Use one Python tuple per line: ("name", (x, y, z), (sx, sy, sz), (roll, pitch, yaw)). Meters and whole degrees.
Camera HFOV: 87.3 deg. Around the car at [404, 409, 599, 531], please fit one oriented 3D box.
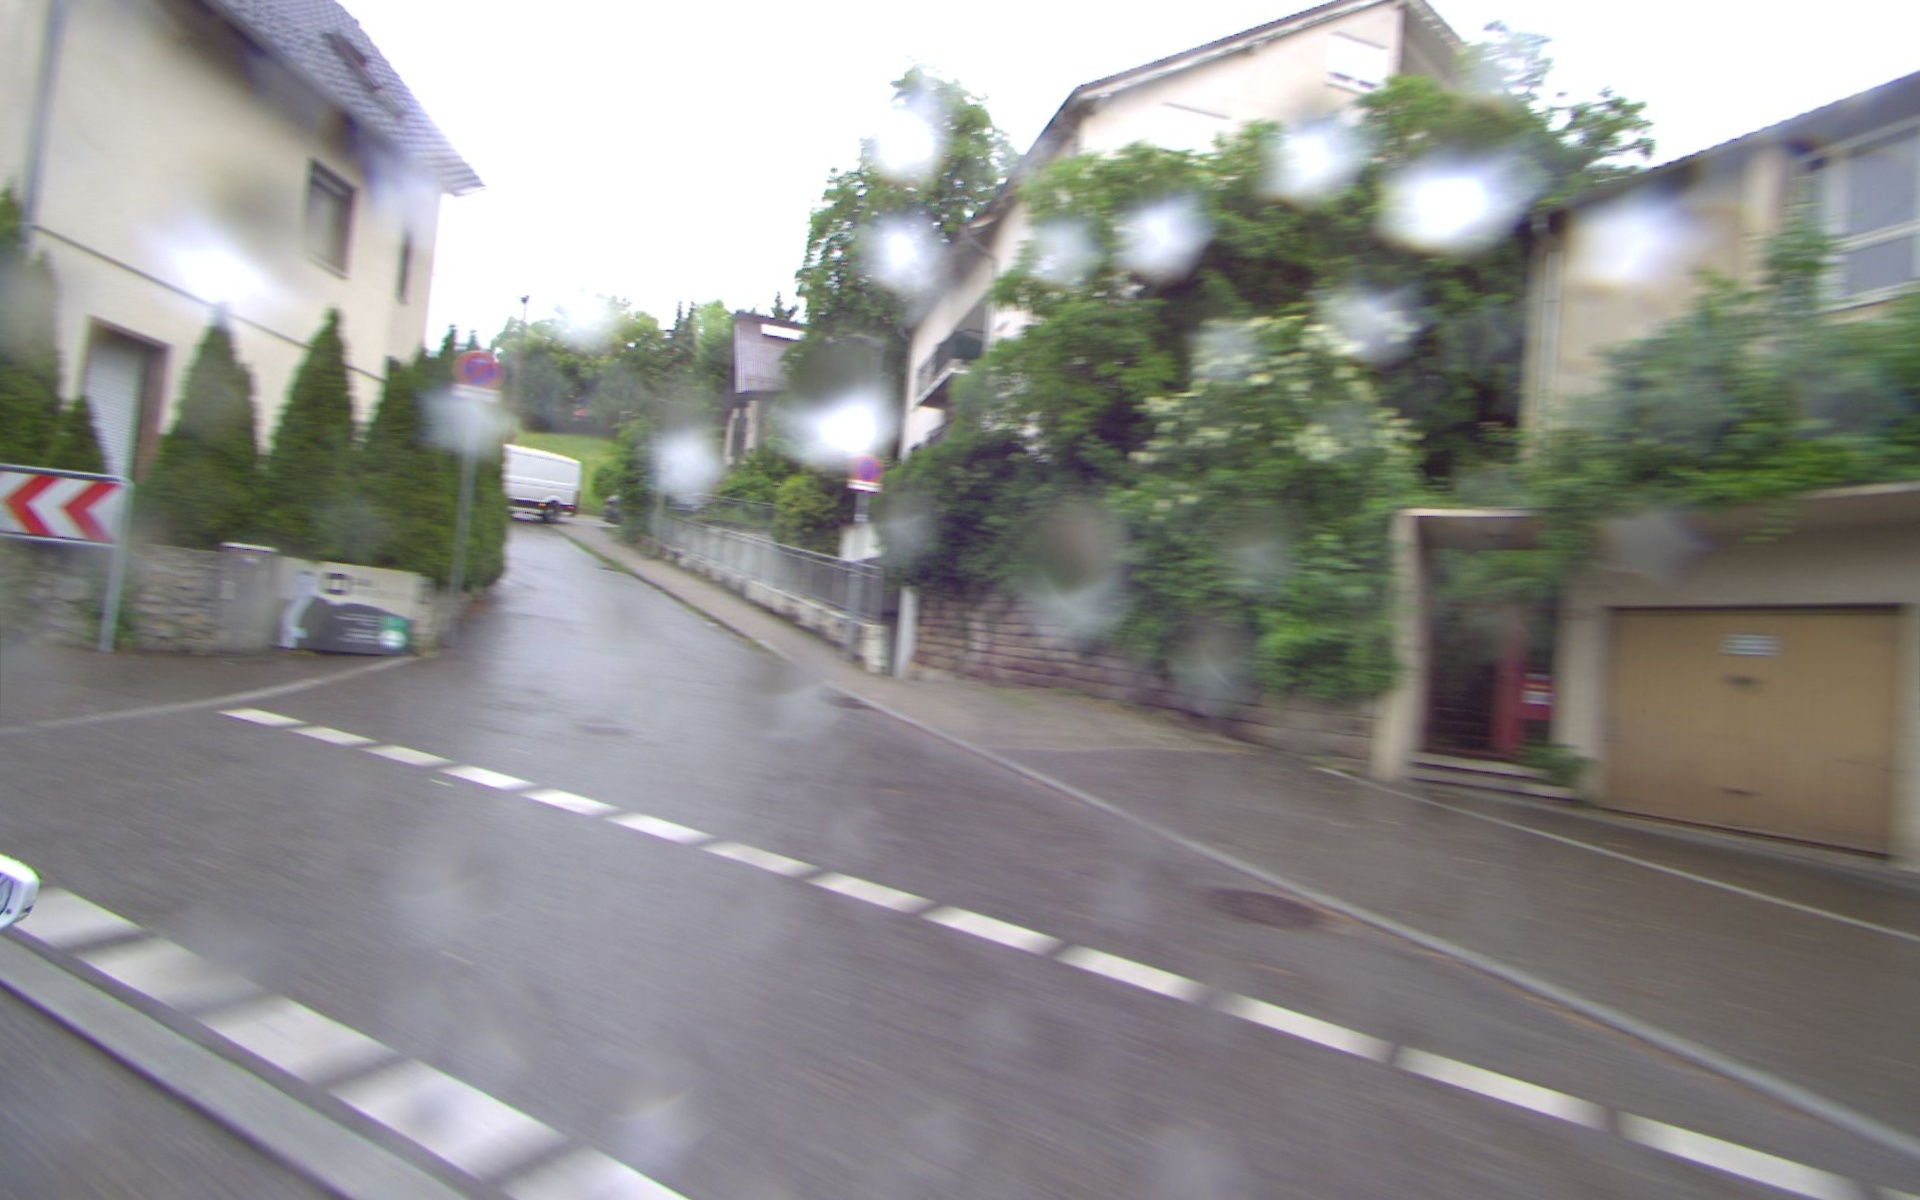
("car", (-14.657, -4.074, 32.617), (1.963, 2.680, 5.711), (6, -2, 22))
